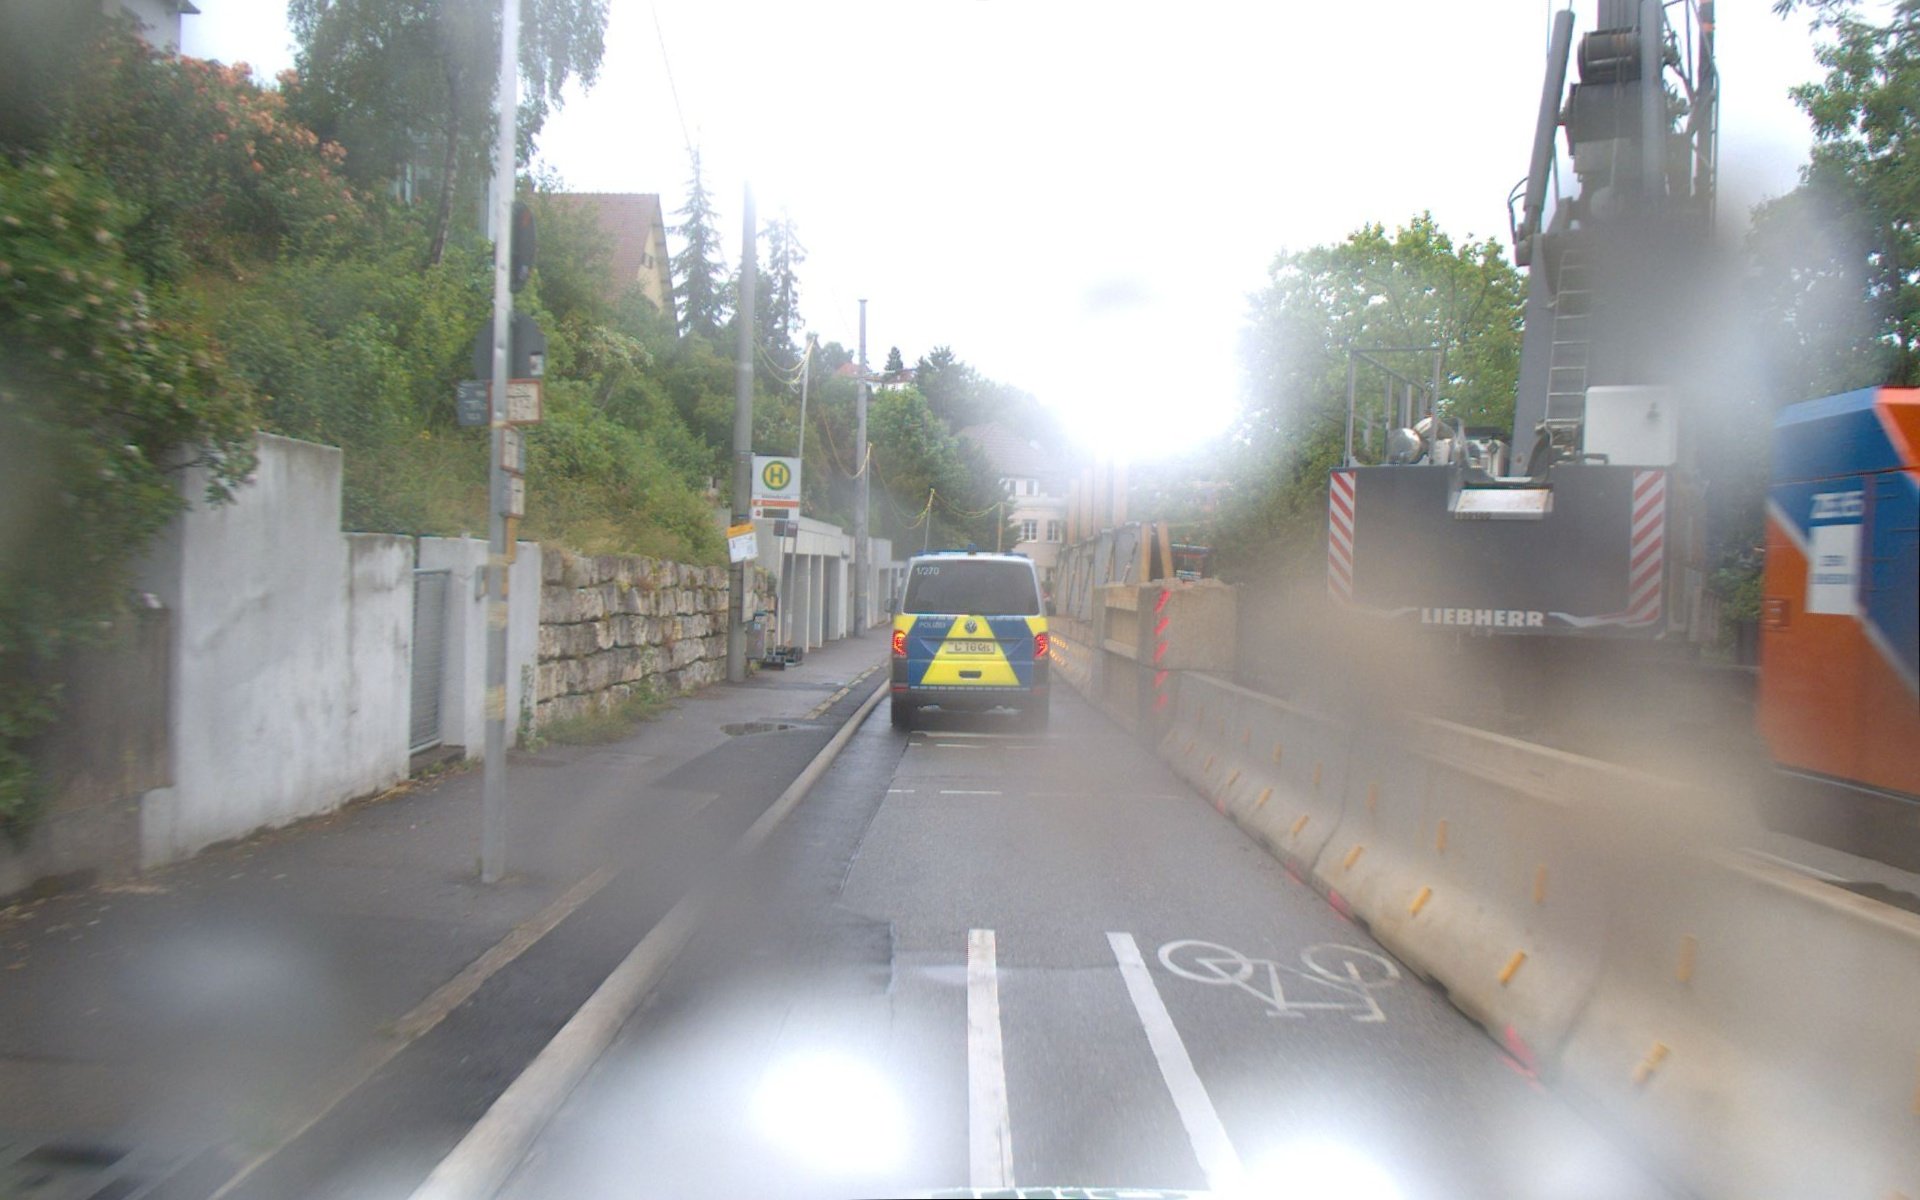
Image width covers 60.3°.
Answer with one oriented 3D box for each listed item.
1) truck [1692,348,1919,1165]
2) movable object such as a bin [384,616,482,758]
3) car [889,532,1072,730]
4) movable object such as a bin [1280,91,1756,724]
[{"bbox_3d":[3.777,0.429,4.028,2.499,2.145,3.303,1,-1,0],"label":"truck"},{"bbox_3d":[-3.820,0.622,12.010,0.496,0.982,0.498,3,-1,0],"label":"movable object such as a bin"},{"bbox_3d":[0.209,0.363,20.144,1.869,2.045,4.439,3,-1,0],"label":"car"},{"bbox_3d":[6.231,-1.524,17.461,3.612,5.155,7.152,1,-1,28],"label":"movable object such as a bin"}]
